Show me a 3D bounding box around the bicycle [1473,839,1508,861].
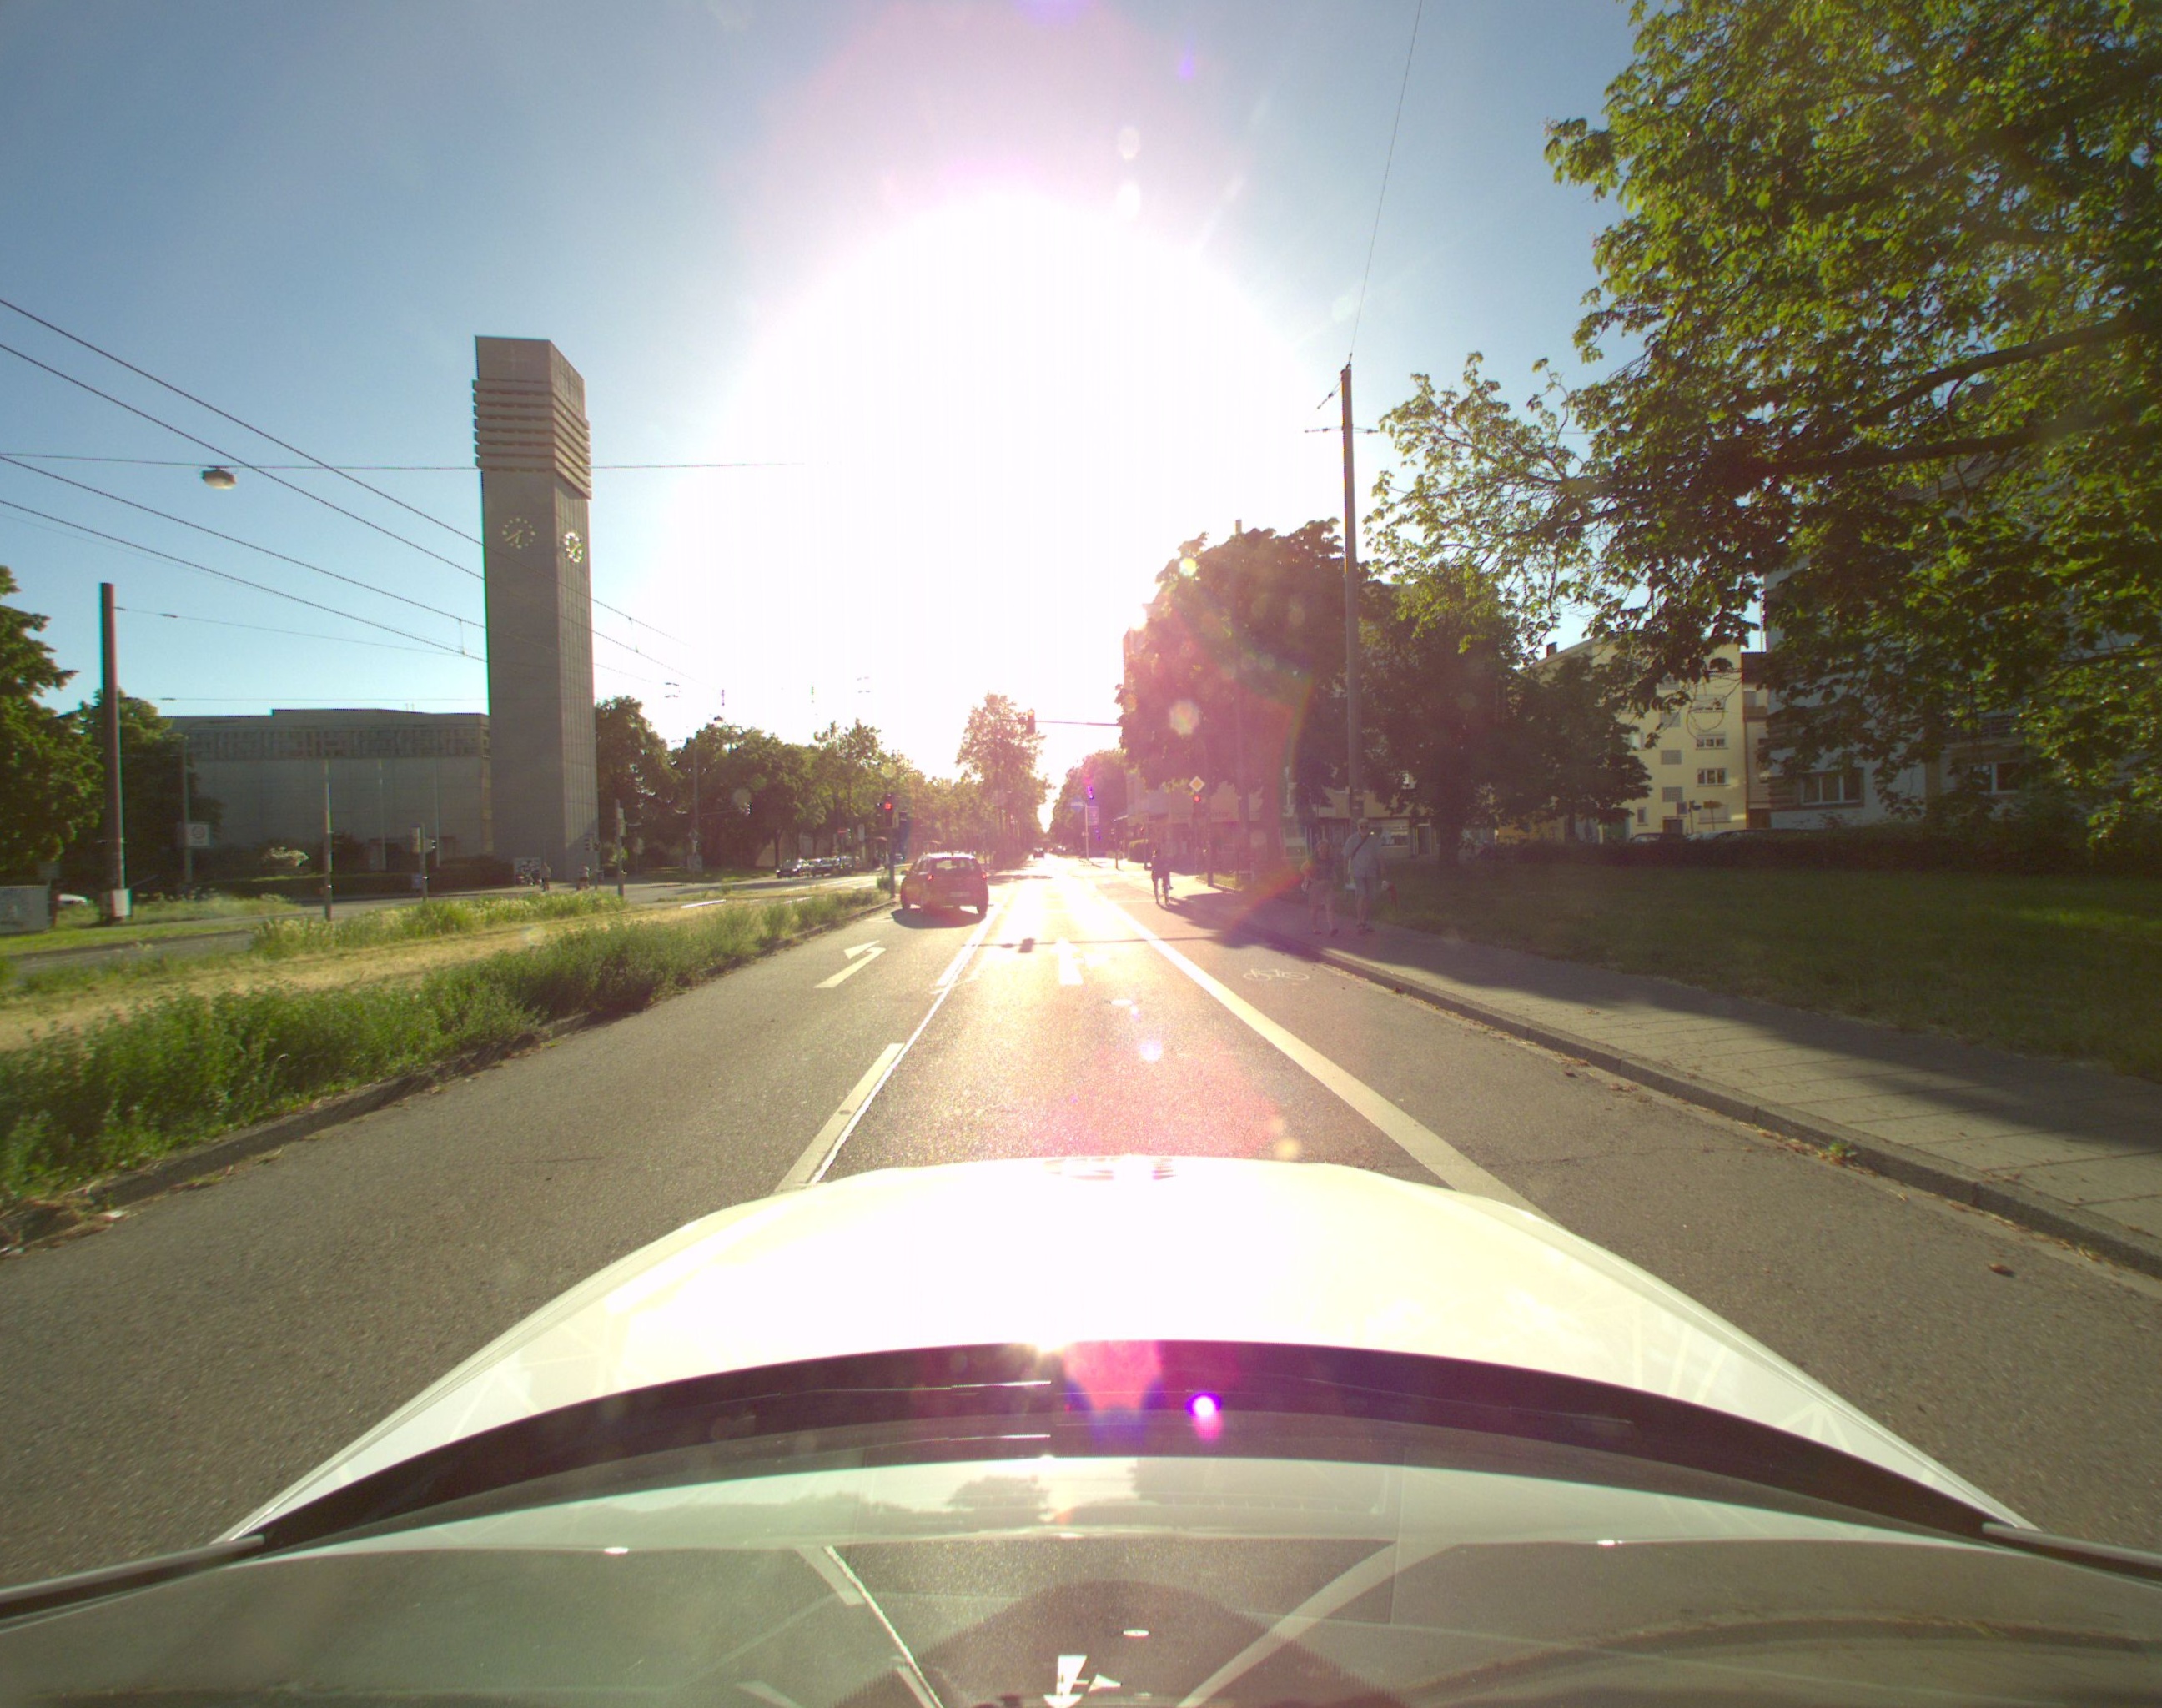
[{"bbox_3d":[19.799,-0.193,39.380,0.596,1.034,2.005,0,0,-3],"label":"bicycle"}]

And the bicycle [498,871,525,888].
[{"bbox_3d":[-37.021,1.641,52.981,0.488,1.045,1.685,0,0,5],"label":"bicycle"}]

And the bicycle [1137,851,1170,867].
[{"bbox_3d":[5.166,0.362,58.249,2.236,0.987,0.792,-1,5,12],"label":"bicycle"}]

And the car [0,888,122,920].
[{"bbox_3d":[-51.284,2.456,40.316,4.701,1.401,1.994,0,0,-9],"label":"car"}]

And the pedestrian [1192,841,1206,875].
[{"bbox_3d":[5.471,0.181,37.778,0.643,1.522,0.497,0,0,9],"label":"pedestrian"}]

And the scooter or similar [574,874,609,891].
[{"bbox_3d":[-30.357,1.761,50.546,1.739,0.899,0.560,-2,0,-19],"label":"scooter or similar"}]

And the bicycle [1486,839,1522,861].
[{"bbox_3d":[20.471,-0.201,39.441,0.596,1.034,1.988,0,0,-3],"label":"bicycle"}]

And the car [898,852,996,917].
[{"bbox_3d":[-3.557,0.708,21.092,1.701,1.508,3.671,0,1,-23],"label":"car"}]

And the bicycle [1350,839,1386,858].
[{"bbox_3d":[21.183,-0.410,60.115,2.465,1.399,0.607,0,0,-5],"label":"bicycle"}]

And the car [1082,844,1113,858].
[{"bbox_3d":[2.285,-0.419,111.265,3.965,1.859,2.016,1,0,7],"label":"car"}]

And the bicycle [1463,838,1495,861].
[{"bbox_3d":[19.177,-0.220,39.292,0.596,1.034,1.794,0,0,-3],"label":"bicycle"}]

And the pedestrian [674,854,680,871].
[{"bbox_3d":[-37.626,0.803,75.822,0.435,1.560,0.304,0,0,-7],"label":"pedestrian"}]

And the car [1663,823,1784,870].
[{"bbox_3d":[23.352,-0.271,29.644,3.243,1.528,1.573,-2,0,-5],"label":"car"}]

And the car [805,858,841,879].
[{"bbox_3d":[-21.399,1.177,67.733,1.683,1.533,4.357,-2,1,-3],"label":"car"}]

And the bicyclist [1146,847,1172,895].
[{"bbox_3d":[2.184,0.455,22.772,0.636,1.323,0.803,0,0,-1],"label":"bicyclist"}]

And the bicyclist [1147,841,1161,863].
[{"bbox_3d":[5.210,-0.142,58.279,0.763,1.471,0.901,-3,1,14],"label":"bicyclist"}]

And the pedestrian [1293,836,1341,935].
[{"bbox_3d":[3.771,0.492,13.042,0.527,1.528,0.628,-4,0,2],"label":"pedestrian"}]

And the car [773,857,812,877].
[{"bbox_3d":[-23.800,1.035,67.407,1.802,1.533,4.357,-2,1,-3],"label":"car"}]

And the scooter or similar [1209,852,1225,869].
[{"bbox_3d":[6.185,0.293,37.138,0.596,0.737,0.680,0,0,-4],"label":"scooter or similar"}]

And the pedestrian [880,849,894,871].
[{"bbox_3d":[-14.466,0.463,60.741,0.889,1.606,0.613,0,0,-3],"label":"pedestrian"}]

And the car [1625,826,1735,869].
[{"bbox_3d":[23.481,-0.245,32.003,3.243,1.528,1.573,-2,0,-5],"label":"car"}]

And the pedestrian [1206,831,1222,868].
[{"bbox_3d":[6.160,-0.202,37.795,0.725,1.682,0.534,0,0,9],"label":"pedestrian"}]

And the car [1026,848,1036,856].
[{"bbox_3d":[-9.504,-0.385,154.249,1.890,1.611,4.494,0,0,-4],"label":"car"}]

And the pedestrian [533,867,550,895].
[{"bbox_3d":[-32.645,1.643,49.300,0.440,1.666,0.748,0,0,7],"label":"pedestrian"}]

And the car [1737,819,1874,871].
[{"bbox_3d":[23.741,-0.306,26.747,3.243,1.528,1.573,-2,0,-5],"label":"car"}]

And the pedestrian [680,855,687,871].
[{"bbox_3d":[-36.994,0.821,75.882,0.435,1.507,0.487,0,0,-7],"label":"pedestrian"}]

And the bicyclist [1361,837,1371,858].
[{"bbox_3d":[20.829,-0.488,59.531,0.526,1.567,0.463,0,0,-6],"label":"bicyclist"}]

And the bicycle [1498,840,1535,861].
[{"bbox_3d":[21.125,-0.174,39.531,0.596,1.034,2.005,0,0,-3],"label":"bicycle"}]

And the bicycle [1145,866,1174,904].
[{"bbox_3d":[2.177,0.844,22.782,0.646,0.972,1.803,0,0,0],"label":"bicycle"}]

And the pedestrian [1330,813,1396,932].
[{"bbox_3d":[4.462,0.281,12.922,0.700,1.789,0.694,-4,1,2],"label":"pedestrian"}]

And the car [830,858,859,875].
[{"bbox_3d":[-21.410,1.089,73.860,1.562,1.402,3.911,0,0,-3],"label":"car"}]

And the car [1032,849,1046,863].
[{"bbox_3d":[-6.002,0.261,115.523,1.965,1.859,3.994,0,0,-4],"label":"car"}]
